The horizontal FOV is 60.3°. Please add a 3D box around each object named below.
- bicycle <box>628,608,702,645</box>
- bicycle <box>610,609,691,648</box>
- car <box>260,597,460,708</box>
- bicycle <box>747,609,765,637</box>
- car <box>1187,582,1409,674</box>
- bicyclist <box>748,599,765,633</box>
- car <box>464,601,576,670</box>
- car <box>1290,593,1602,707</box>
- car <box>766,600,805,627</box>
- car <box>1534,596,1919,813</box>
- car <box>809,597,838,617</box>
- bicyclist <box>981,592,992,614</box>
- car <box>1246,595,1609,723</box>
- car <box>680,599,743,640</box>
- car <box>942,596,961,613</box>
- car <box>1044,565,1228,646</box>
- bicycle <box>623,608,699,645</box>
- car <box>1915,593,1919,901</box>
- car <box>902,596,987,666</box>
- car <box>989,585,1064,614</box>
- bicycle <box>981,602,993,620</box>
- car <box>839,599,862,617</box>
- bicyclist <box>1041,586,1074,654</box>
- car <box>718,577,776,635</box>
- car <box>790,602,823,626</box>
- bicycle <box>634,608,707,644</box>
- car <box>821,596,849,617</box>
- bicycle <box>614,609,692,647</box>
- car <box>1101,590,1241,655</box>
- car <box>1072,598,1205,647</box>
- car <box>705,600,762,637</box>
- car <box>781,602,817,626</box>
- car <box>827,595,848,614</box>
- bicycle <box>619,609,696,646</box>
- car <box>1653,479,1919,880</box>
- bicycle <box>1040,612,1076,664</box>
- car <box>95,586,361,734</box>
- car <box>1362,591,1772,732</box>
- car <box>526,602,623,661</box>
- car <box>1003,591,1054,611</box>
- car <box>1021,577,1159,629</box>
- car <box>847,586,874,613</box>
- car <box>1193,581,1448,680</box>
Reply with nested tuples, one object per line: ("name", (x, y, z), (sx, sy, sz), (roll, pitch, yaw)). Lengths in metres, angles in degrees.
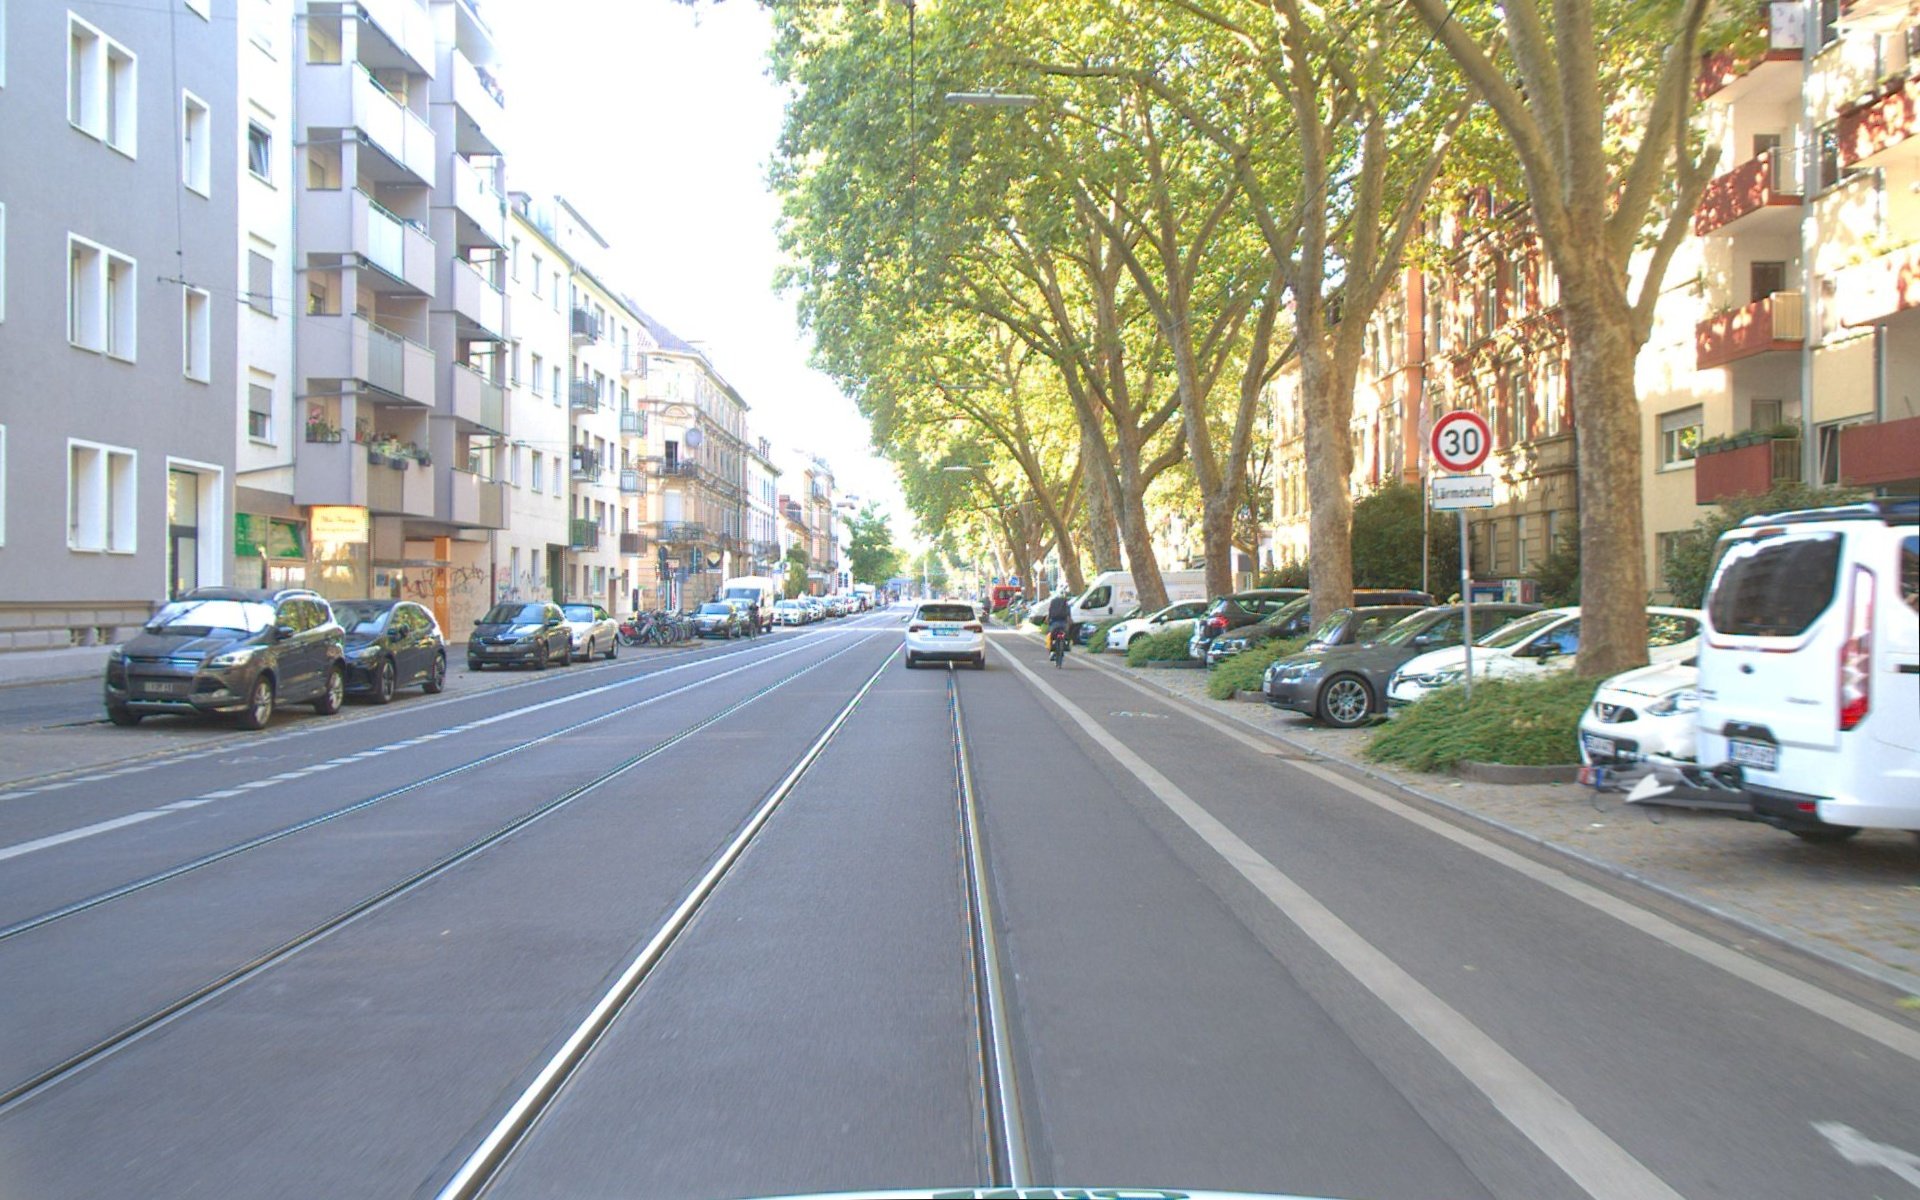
("bicycle", (-10.326, 0.932, 58.005), (2.476, 1.193, 0.718), (2, -2, -6))
("bicycle", (-10.185, 0.936, 54.499), (2.510, 1.193, 0.870), (3, -2, -41))
("car", (-9.540, 0.776, 26.673), (1.668, 1.571, 4.241), (2, 0, -1))
("bicycle", (-8.013, 0.895, 65.124), (0.593, 1.089, 1.582), (-1, 0, -3))
("car", (6.481, 0.523, 31.974), (3.906, 1.709, 1.723), (0, 0, -2))
("bicyclist", (-8.015, 0.624, 65.169), (0.585, 1.308, 0.916), (-1, 0, -4))
("car", (-9.835, 0.753, 37.214), (1.620, 1.462, 3.835), (0, 0, -2))
("car", (6.825, 0.677, 23.505), (3.906, 1.540, 1.760), (0, 0, -2))
("car", (-10.353, 0.811, 98.483), (1.953, 1.557, 3.999), (0, 0, -1))
("car", (6.574, 0.725, 12.561), (3.820, 1.505, 1.722), (0, 0, -4))
("car", (-10.525, 0.529, 127.791), (1.953, 1.557, 3.999), (0, 0, -1))
("bicyclist", (1.685, 0.181, 104.032), (0.636, 1.367, 0.934), (-1, 0, -3))
("car", (5.847, 0.713, 21.048), (4.059, 1.540, 1.930), (0, 0, -2))
("car", (-9.937, 0.757, 66.437), (1.953, 1.557, 3.999), (0, 0, -1))
("car", (-0.789, 0.435, 150.195), (1.725, 1.501, 4.000), (-1, 0, 0))
("car", (5.989, 0.175, 56.832), (6.007, 2.681, 2.528), (0, 0, -3))
("bicycle", (-10.312, 0.932, 57.156), (2.476, 1.193, 0.718), (2, -2, -6))
("car", (6.814, 0.709, 7.274), (4.210, 1.505, 1.830), (0, 0, -2))
("car", (-0.323, 0.635, 35.816), (1.725, 1.408, 4.000), (-1, 0, 0))
("car", (5.415, -0.030, 135.668), (6.007, 2.322, 2.528), (0, 0, -3))
("bicycle", (1.694, 0.678, 104.019), (0.636, 1.089, 1.582), (-1, 0, -3))
("car", (-10.225, 0.734, 154.961), (1.953, 1.669, 3.999), (1, -1, -1))
("bicyclist", (2.151, 0.435, 36.636), (0.664, 1.468, 1.047), (-1, 0, 0))
("car", (-10.029, 0.260, 78.162), (2.134, 2.642, 4.948), (0, 0, -1))
("car", (-10.422, 0.927, 112.443), (1.953, 1.557, 3.999), (0, 0, -1))
("bicycle", (-10.334, 0.940, 59.059), (2.476, 1.193, 0.718), (2, -2, -7))
("car", (-10.147, 0.562, 134.487), (1.953, 1.669, 3.999), (1, -1, -1))
("bicycle", (-10.250, 0.935, 55.282), (2.477, 1.193, 0.718), (2, -2, -7))
("car", (5.645, 0.594, 44.572), (3.559, 1.695, 1.822), (0, 0, 1))
("car", (5.791, 0.721, 53.994), (3.972, 1.567, 1.997), (0, 0, -7))
("car", (-9.855, 0.800, 72.219), (1.953, 1.557, 3.999), (0, 0, -1))
("car", (-10.443, 0.887, 107.634), (1.953, 1.557, 3.999), (0, 0, -1))
("car", (-13.268, 0.488, 179.544), (1.953, 2.049, 3.999), (0, 0, -1))
("bicycle", (-10.276, 0.935, 56.168), (2.476, 1.193, 0.718), (2, -2, -6))
("car", (6.768, 0.408, 9.852), (4.453, 2.113, 1.999), (0, 0, -3))
("bicycle", (2.152, 0.821, 36.579), (0.667, 1.089, 1.781), (-1, 0, 0))
("car", (-9.399, 0.705, 21.626), (1.668, 1.679, 4.240), (2, 0, -2))
("car", (6.791, 0.662, 18.811), (3.954, 1.505, 1.923), (0, 0, -1))
("car", (-9.798, 0.761, 42.254), (1.454, 1.428, 3.991), (0, 0, 1))
("car", (5.422, 0.073, 130.975), (3.967, 1.567, 2.000), (0, 0, -1))
("car", (5.877, 0.124, 75.450), (6.007, 2.322, 2.528), (0, 0, -3))
("car", (-12.045, -0.045, 201.021), (2.907, 3.211, 5.846), (1, -1, -1))
("car", (6.401, 0.527, 29.667), (4.149, 1.695, 1.847), (0, 0, -2))
